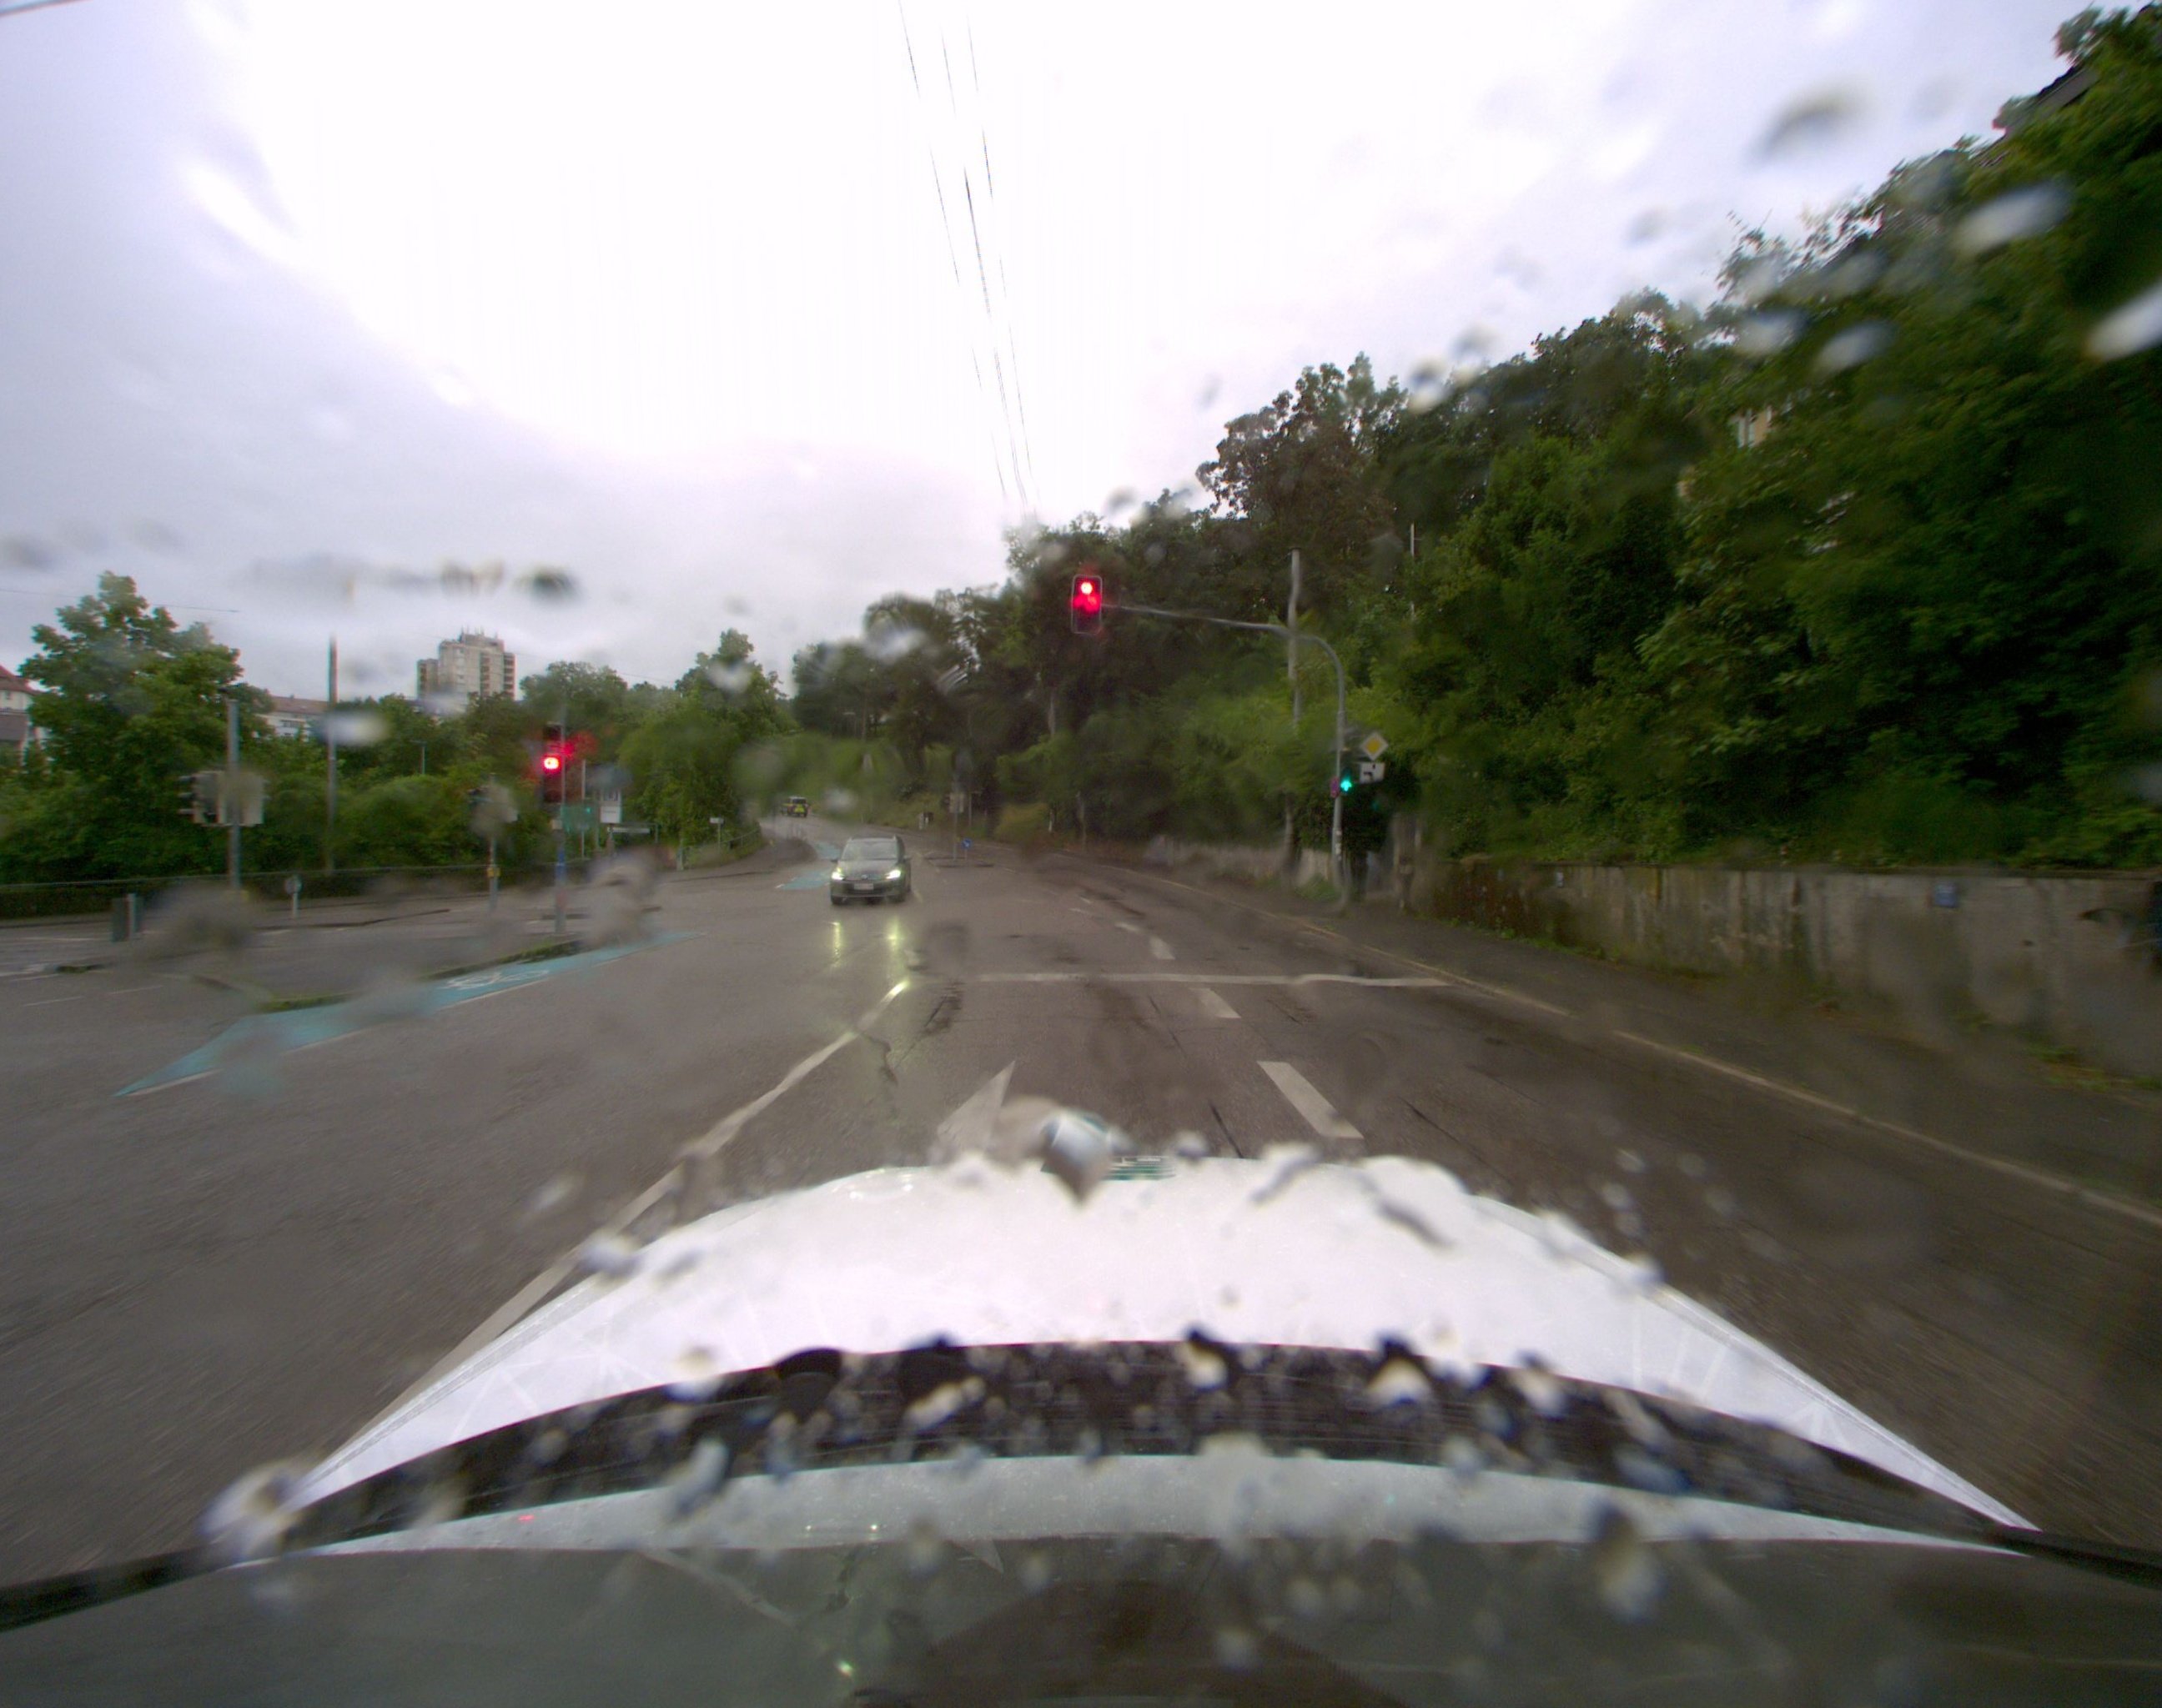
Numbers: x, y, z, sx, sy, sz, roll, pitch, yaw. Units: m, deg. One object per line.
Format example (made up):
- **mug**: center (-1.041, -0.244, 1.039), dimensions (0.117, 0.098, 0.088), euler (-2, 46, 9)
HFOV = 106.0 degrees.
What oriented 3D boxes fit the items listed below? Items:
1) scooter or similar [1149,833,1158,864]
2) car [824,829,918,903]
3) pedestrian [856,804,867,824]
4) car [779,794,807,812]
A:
- **scooter or similar**: center (2.994, -0.234, 33.584), dimensions (0.320, 1.279, 0.753), euler (0, 3, 6)
- **car**: center (-5.454, 0.219, 21.653), dimensions (1.847, 1.679, 4.163), euler (-2, 2, -7)
- **pedestrian**: center (-19.947, -3.660, 73.980), dimensions (0.883, 1.736, 0.860), euler (0, -1, -19)
- **car**: center (-29.693, -5.209, 83.927), dimensions (1.931, 1.780, 3.960), euler (0, 2, -32)
